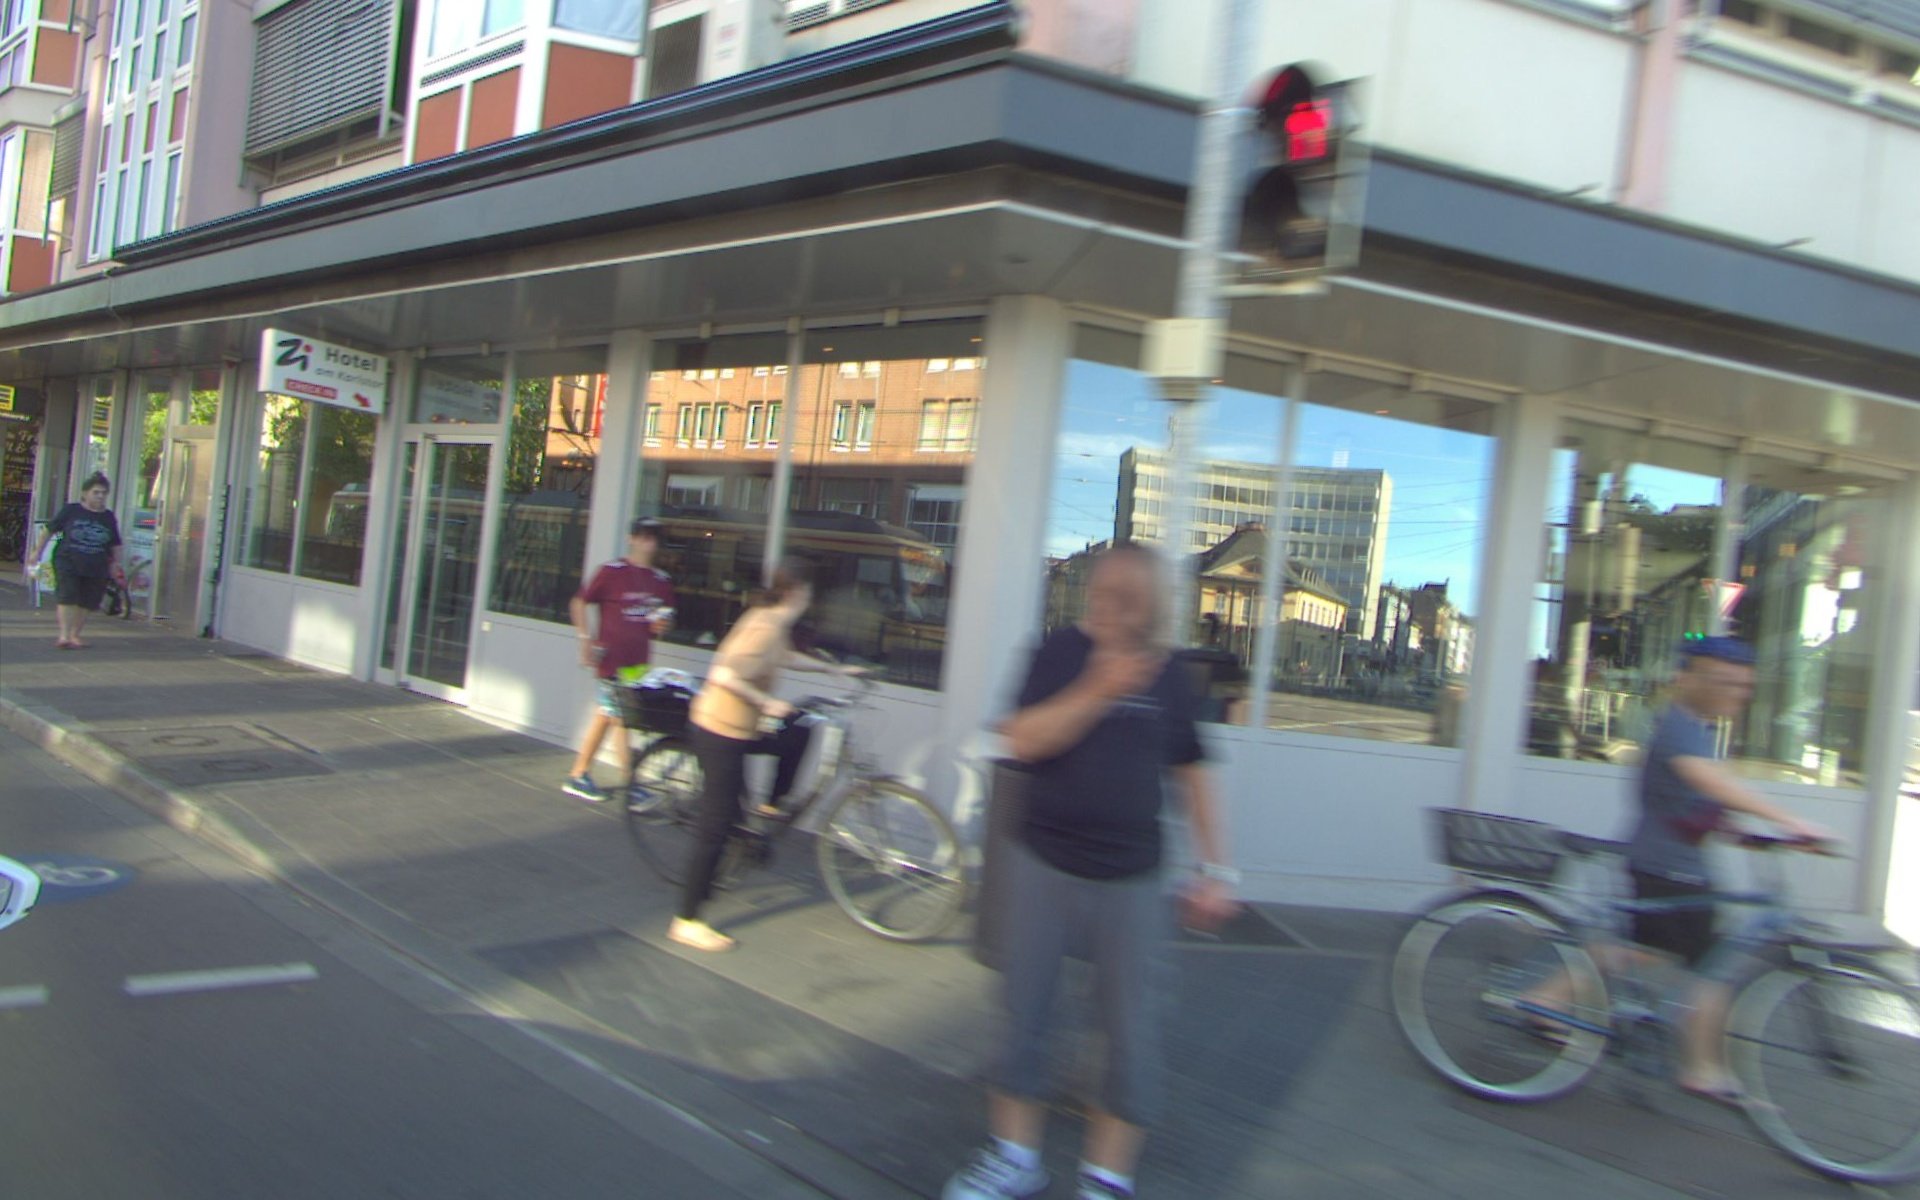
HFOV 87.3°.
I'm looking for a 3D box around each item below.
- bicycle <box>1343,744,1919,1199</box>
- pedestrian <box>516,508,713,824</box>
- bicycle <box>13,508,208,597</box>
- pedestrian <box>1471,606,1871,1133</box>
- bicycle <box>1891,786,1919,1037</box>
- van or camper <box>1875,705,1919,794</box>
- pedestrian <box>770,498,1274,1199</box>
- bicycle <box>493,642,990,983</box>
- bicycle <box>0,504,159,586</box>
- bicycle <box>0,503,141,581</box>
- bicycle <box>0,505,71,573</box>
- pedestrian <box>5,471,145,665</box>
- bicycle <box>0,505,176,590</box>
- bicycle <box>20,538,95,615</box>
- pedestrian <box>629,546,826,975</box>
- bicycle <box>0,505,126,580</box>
[{"bbox_3d":[2.428,1.259,3.419,1.936,1.175,0.490,8,1,16],"label":"bicycle"},{"bbox_3d":[-2.042,0.378,6.003,0.659,1.709,0.688,7,0,20],"label":"pedestrian"},{"bbox_3d":[-14.894,-0.803,17.730,0.783,1.231,2.432,7,-1,31],"label":"bicycle"},{"bbox_3d":[2.811,0.977,4.023,0.907,1.776,0.833,6,0,-28],"label":"pedestrian"},{"bbox_3d":[5.774,1.654,4.741,1.872,1.300,0.545,7,0,17],"label":"bicycle"},{"bbox_3d":[23.583,3.665,23.417,2.006,1.976,5.252,7,0,29],"label":"van or camper"},{"bbox_3d":[0.165,0.712,2.536,0.902,1.804,0.627,7,0,29],"label":"pedestrian"},{"bbox_3d":[-0.988,0.873,4.526,2.084,1.115,0.490,7,0,14],"label":"bicycle"},{"bbox_3d":[-16.659,-1.025,18.802,0.783,1.231,2.432,7,-1,31],"label":"bicycle"},{"bbox_3d":[-17.353,-1.119,19.236,0.783,1.231,2.432,7,-1,31],"label":"bicycle"},{"bbox_3d":[-19.225,-1.295,19.764,0.815,1.231,2.432,7,-1,31],"label":"bicycle"},{"bbox_3d":[-8.288,-0.292,9.427,0.738,1.698,0.697,7,0,34],"label":"pedestrian"},{"bbox_3d":[-15.976,-0.925,18.364,0.783,1.231,2.432,7,-1,31],"label":"bicycle"},{"bbox_3d":[-11.702,-0.315,13.032,1.218,0.867,0.414,6,0,36],"label":"bicycle"},{"bbox_3d":[-0.912,0.616,4.049,0.535,1.582,0.472,6,0,-4],"label":"pedestrian"},{"bbox_3d":[-18.041,-1.144,19.701,0.783,1.231,2.432,7,-1,31],"label":"bicycle"}]
